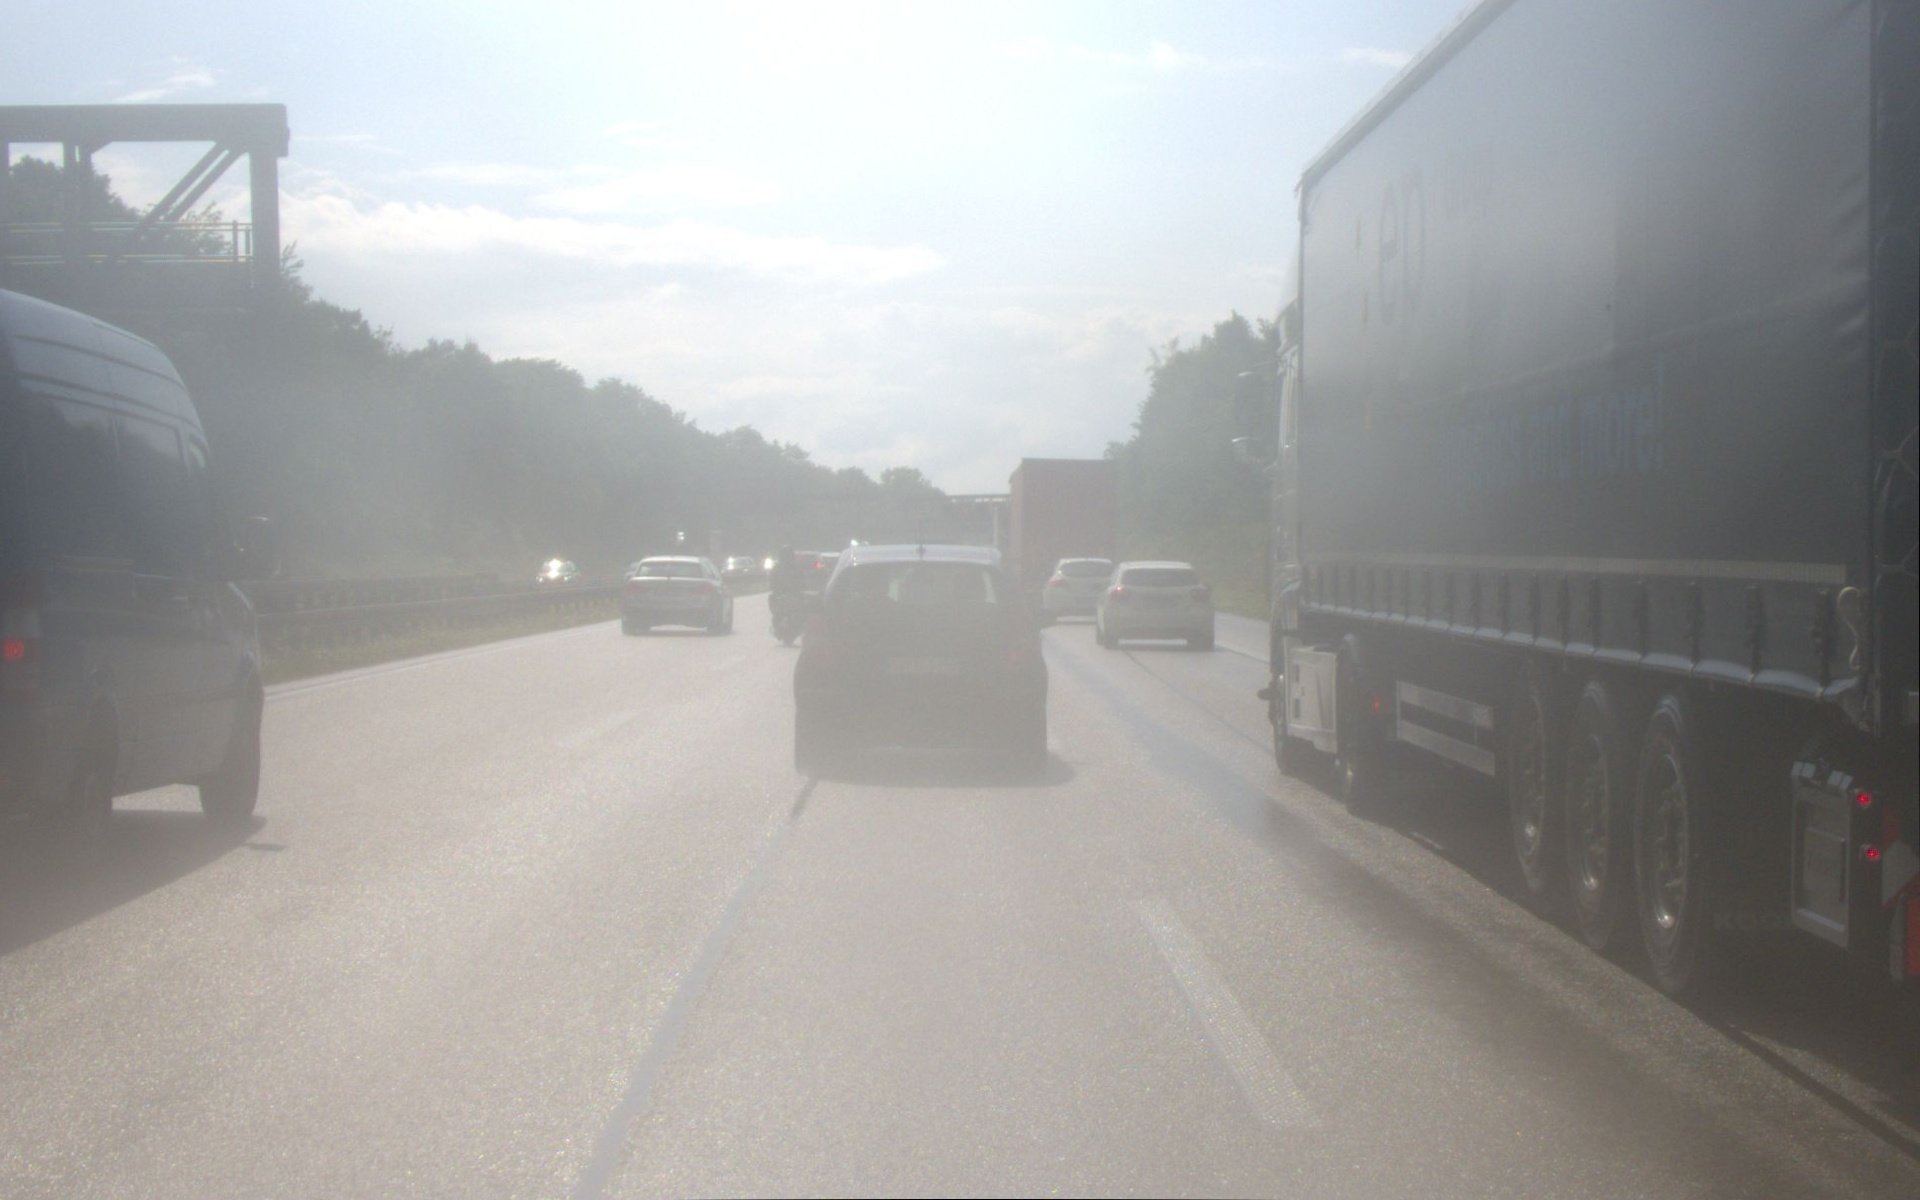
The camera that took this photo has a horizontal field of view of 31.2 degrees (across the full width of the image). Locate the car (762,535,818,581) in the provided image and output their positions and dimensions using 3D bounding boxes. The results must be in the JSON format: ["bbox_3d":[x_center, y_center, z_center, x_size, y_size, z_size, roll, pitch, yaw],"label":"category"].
[{"bbox_3d":[-6.060,-1.499,122.953,1.893,1.622,4.195,0,1,-1],"label":"car"}]

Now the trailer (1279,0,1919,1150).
[{"bbox_3d":[3.708,-0.879,15.594,3.088,4.298,14.106,0,1,0],"label":"trailer"}]

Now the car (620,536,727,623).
[{"bbox_3d":[-5.390,-0.406,65.167,1.758,1.589,4.331,0,1,-1],"label":"car"}]

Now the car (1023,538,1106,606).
[{"bbox_3d":[2.318,-0.642,77.109,1.675,1.485,3.437,0,1,-1],"label":"car"}]

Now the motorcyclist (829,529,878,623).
[{"bbox_3d":[-2.021,-0.459,65.113,0.821,1.754,1.390,1,0,-5],"label":"motorcyclist"}]

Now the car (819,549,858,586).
[{"bbox_3d":[-5.352,-1.438,151.350,1.675,1.591,3.437,0,1,-1],"label":"car"}]

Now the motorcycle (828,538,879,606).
[{"bbox_3d":[-2.023,-0.539,65.161,0.819,1.258,2.118,1,1,-6],"label":"motorcycle"}]

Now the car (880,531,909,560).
[{"bbox_3d":[-4.621,-3.792,241.341,1.993,2.007,4.000,1,1,-1],"label":"car"}]

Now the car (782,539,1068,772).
[{"bbox_3d":[-0.284,0.339,25.254,1.915,1.560,4.314,0,1,-1],"label":"car"}]

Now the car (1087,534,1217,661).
[{"bbox_3d":[3.131,-0.063,56.716,1.849,2.007,4.087,1,1,-1],"label":"car"}]

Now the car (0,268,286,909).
[{"bbox_3d":[-4.851,-0.093,17.010,2.015,2.639,5.777,0,1,-1],"label":"car"}]

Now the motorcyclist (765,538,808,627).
[{"bbox_3d":[-2.852,-0.286,56.503,0.670,1.437,1.020,1,0,-4],"label":"motorcyclist"}]

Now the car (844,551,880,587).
[{"bbox_3d":[-5.595,-1.748,196.274,1.993,2.007,4.000,1,1,-1],"label":"car"}]

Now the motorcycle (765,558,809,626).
[{"bbox_3d":[-2.842,-0.145,56.399,0.676,1.083,1.982,1,1,-4],"label":"motorcycle"}]

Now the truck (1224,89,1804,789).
[{"bbox_3d":[3.661,-1.024,24.264,3.052,4.310,5.886,1,0,-1],"label":"truck"}]

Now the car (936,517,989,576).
[{"bbox_3d":[0.070,-1.768,113.962,1.675,1.929,3.774,0,1,-1],"label":"car"}]

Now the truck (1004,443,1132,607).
[{"bbox_3d":[2.963,-2.091,97.332,3.202,4.389,9.433,0,1,-1],"label":"truck"}]

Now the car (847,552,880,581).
[{"bbox_3d":[-4.971,-1.739,177.002,1.675,1.485,3.437,0,1,-1],"label":"car"}]

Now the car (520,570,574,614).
[{"bbox_3d":[-19.176,-0.389,159.764,1.993,2.007,4.733,1,1,-1],"label":"car"}]

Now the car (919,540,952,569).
[{"bbox_3d":[-1.266,-2.353,178.092,1.631,1.485,3.437,0,1,-1],"label":"car"}]

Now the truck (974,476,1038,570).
[{"bbox_3d":[2.307,-3.904,177.930,2.882,4.671,12.659,1,1,-1],"label":"truck"}]
